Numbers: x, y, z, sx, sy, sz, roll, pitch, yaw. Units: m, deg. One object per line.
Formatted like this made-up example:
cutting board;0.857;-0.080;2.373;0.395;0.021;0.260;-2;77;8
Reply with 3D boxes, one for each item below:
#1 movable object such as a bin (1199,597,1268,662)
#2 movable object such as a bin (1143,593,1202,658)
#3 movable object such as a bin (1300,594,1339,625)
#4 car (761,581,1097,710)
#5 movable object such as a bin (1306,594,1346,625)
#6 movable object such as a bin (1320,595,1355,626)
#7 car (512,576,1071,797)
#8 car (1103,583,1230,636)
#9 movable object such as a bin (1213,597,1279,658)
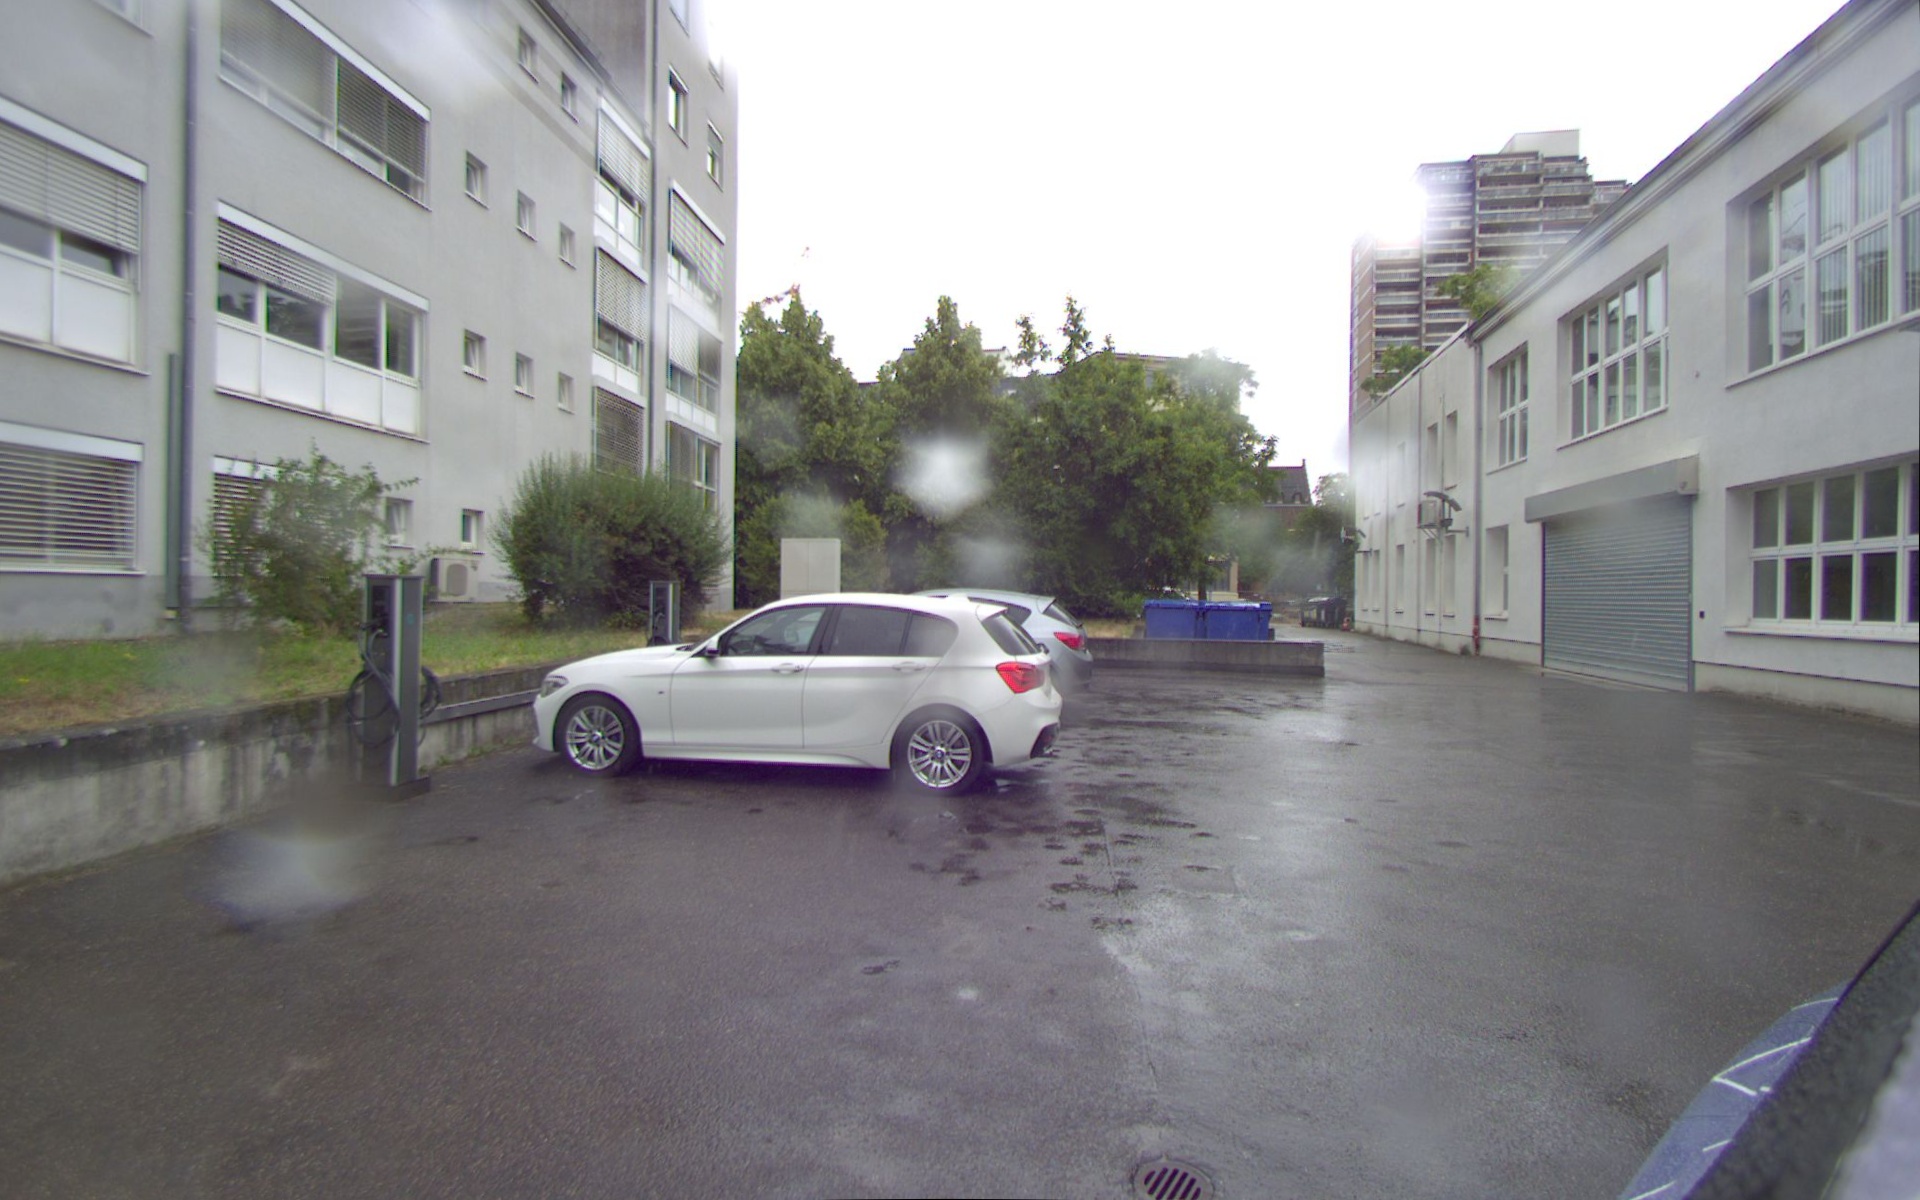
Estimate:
movable object such as a bin;5.988;0.650;22.311;1.293;1.375;1.898;-1;-2;11
movable object such as a bin;4.713;0.572;22.569;1.214;1.375;1.964;-1;-2;11
movable object such as a bin;17.514;0.473;49.353;1.466;1.467;1.311;-1;-2;6
car;-0.304;0.538;13.333;4.150;1.508;1.996;1;-1;8
movable object such as a bin;17.363;0.465;48.015;1.466;1.467;1.311;-1;-2;6
movable object such as a bin;17.301;0.491;46.439;1.167;1.392;1.311;-1;-2;6
car;-1.189;0.601;8.334;4.150;1.508;1.996;1;-1;8
car;7.934;0.395;38.961;4.627;1.906;2.113;-1;-3;14
movable object such as a bin;6.777;0.656;24.098;1.293;1.375;1.898;-1;-2;11
